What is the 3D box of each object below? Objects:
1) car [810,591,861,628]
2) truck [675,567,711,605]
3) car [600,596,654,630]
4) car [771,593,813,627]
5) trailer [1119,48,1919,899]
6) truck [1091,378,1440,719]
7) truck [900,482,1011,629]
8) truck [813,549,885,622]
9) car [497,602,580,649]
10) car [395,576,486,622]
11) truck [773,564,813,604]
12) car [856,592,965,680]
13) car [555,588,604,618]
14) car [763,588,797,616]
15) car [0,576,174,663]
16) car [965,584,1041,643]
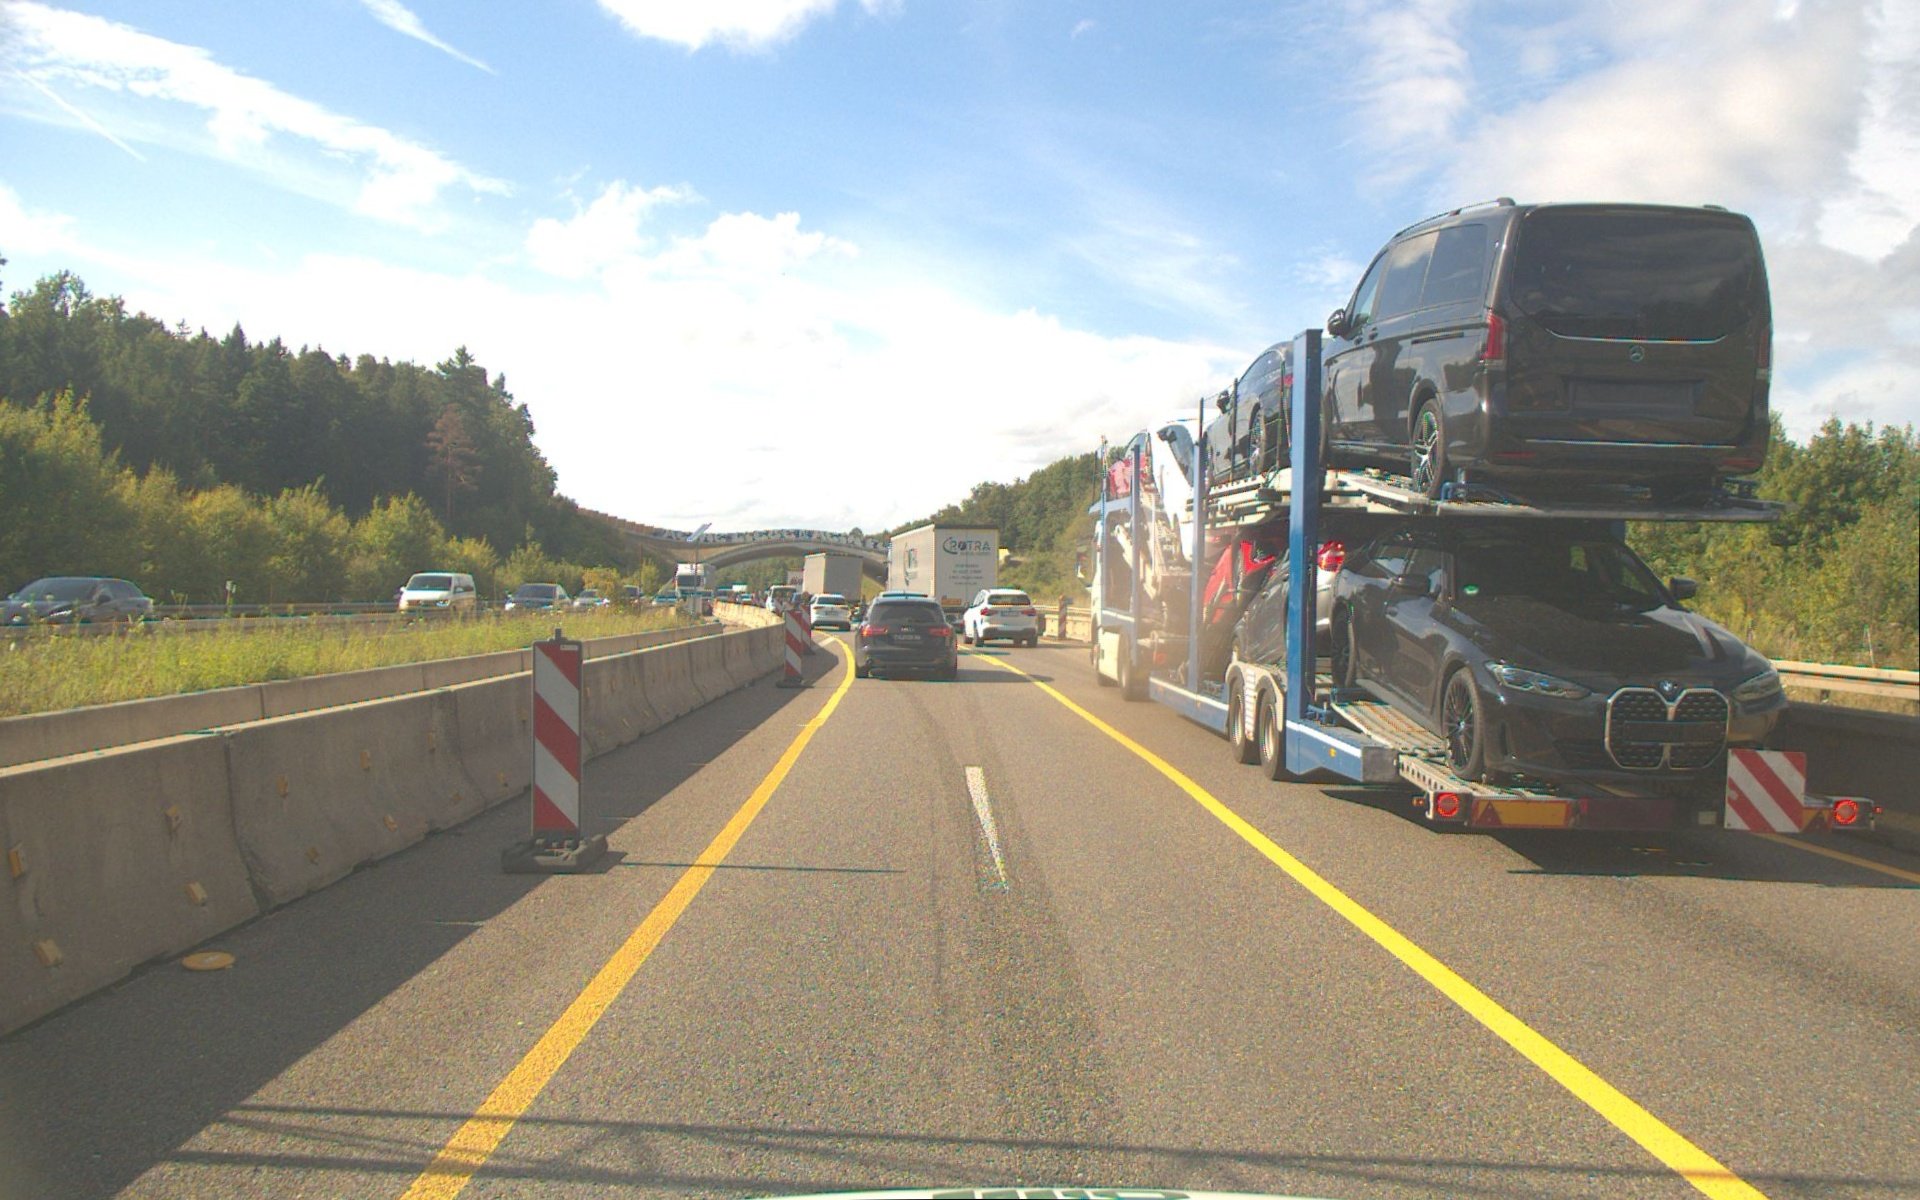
[{"bbox_3d":[-5.179,0.366,68.440,1.855,1.472,3.993,1,0,-8],"label":"car"},{"bbox_3d":[-24.208,-1.238,150.334,2.702,3.356,5.808,1,0,-4],"label":"truck"},{"bbox_3d":[-17.143,0.642,85.250,1.929,1.630,4.945,1,0,-2],"label":"car"},{"bbox_3d":[-8.648,0.482,85.012,1.856,1.672,4.008,1,0,-10],"label":"car"},{"bbox_3d":[4.294,-0.643,16.494,3.650,4.269,16.225,1,0,-1],"label":"trailer"},{"bbox_3d":[4.198,-0.661,24.972,3.684,4.269,7.950,1,0,-1],"label":"truck"},{"bbox_3d":[-0.451,-1.680,70.186,3.605,5.447,16.188,1,0,-4],"label":"truck"},{"bbox_3d":[-7.694,-0.969,113.059,4.238,4.681,11.106,1,0,-7],"label":"truck"},{"bbox_3d":[-15.558,0.905,61.320,1.928,1.630,4.945,1,0,-2],"label":"car"},{"bbox_3d":[-19.196,-0.039,61.373,1.928,1.630,4.945,1,0,-2],"label":"car"},{"bbox_3d":[-17.586,-1.638,173.210,3.586,3.997,11.045,1,0,-9],"label":"truck"},{"bbox_3d":[-0.920,0.617,30.331,1.852,1.472,3.998,1,0,-2],"label":"car"},{"bbox_3d":[-21.803,0.166,94.984,1.929,1.630,4.943,1,0,-4],"label":"car"},{"bbox_3d":[-10.966,0.100,100.536,1.855,1.672,4.010,1,0,-9],"label":"car"},{"bbox_3d":[-17.936,0.364,33.631,1.742,1.630,4.675,1,0,-2],"label":"car"},{"bbox_3d":[1.248,0.375,49.739,1.853,1.672,4.014,1,0,-5],"label":"car"}]
